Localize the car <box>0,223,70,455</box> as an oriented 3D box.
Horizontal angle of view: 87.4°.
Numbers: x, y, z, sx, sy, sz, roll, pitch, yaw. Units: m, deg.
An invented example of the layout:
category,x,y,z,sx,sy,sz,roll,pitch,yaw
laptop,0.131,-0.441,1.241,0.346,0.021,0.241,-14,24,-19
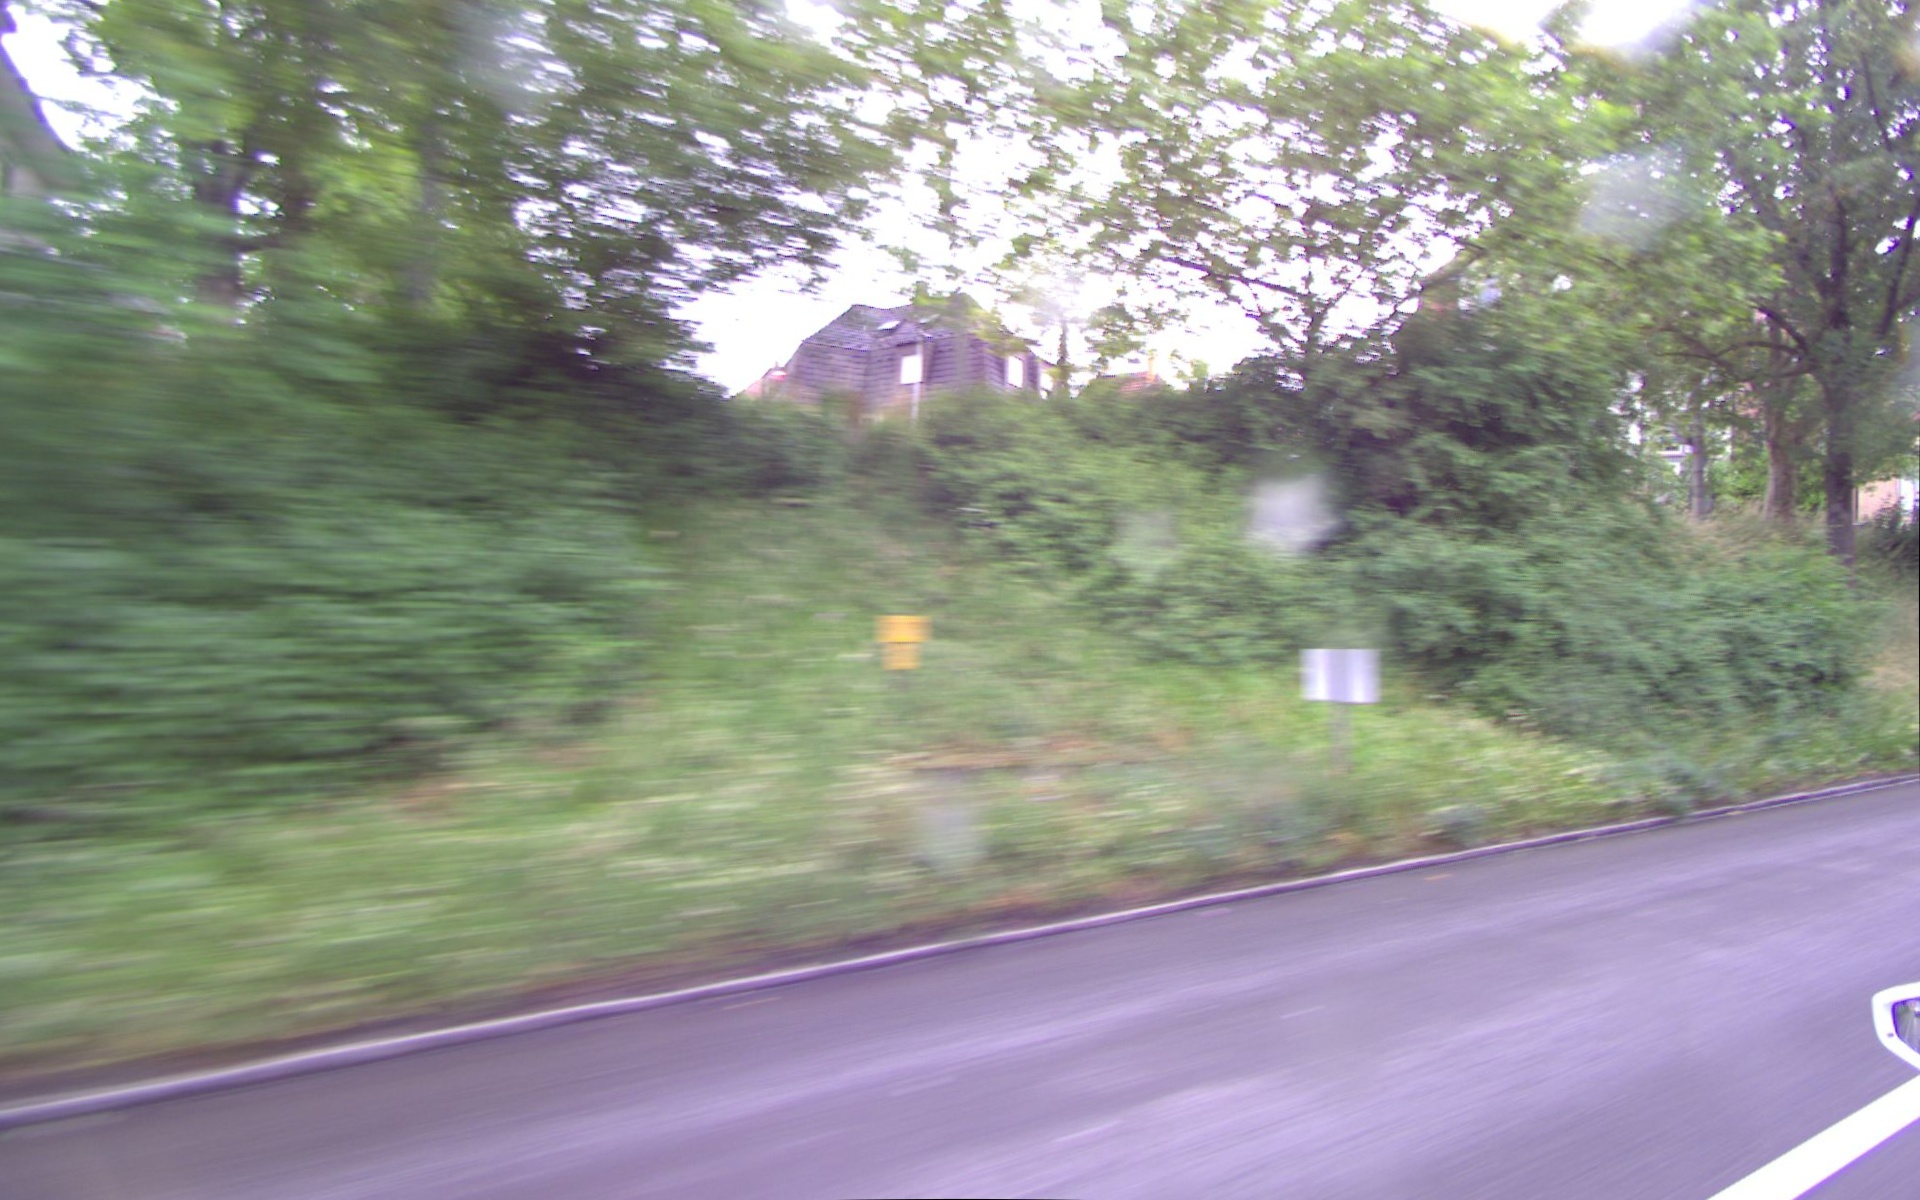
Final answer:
category,x,y,z,sx,sy,sz,roll,pitch,yaw
car,-11.422,-2.739,9.717,3.961,2.040,1.980,2,0,-36
